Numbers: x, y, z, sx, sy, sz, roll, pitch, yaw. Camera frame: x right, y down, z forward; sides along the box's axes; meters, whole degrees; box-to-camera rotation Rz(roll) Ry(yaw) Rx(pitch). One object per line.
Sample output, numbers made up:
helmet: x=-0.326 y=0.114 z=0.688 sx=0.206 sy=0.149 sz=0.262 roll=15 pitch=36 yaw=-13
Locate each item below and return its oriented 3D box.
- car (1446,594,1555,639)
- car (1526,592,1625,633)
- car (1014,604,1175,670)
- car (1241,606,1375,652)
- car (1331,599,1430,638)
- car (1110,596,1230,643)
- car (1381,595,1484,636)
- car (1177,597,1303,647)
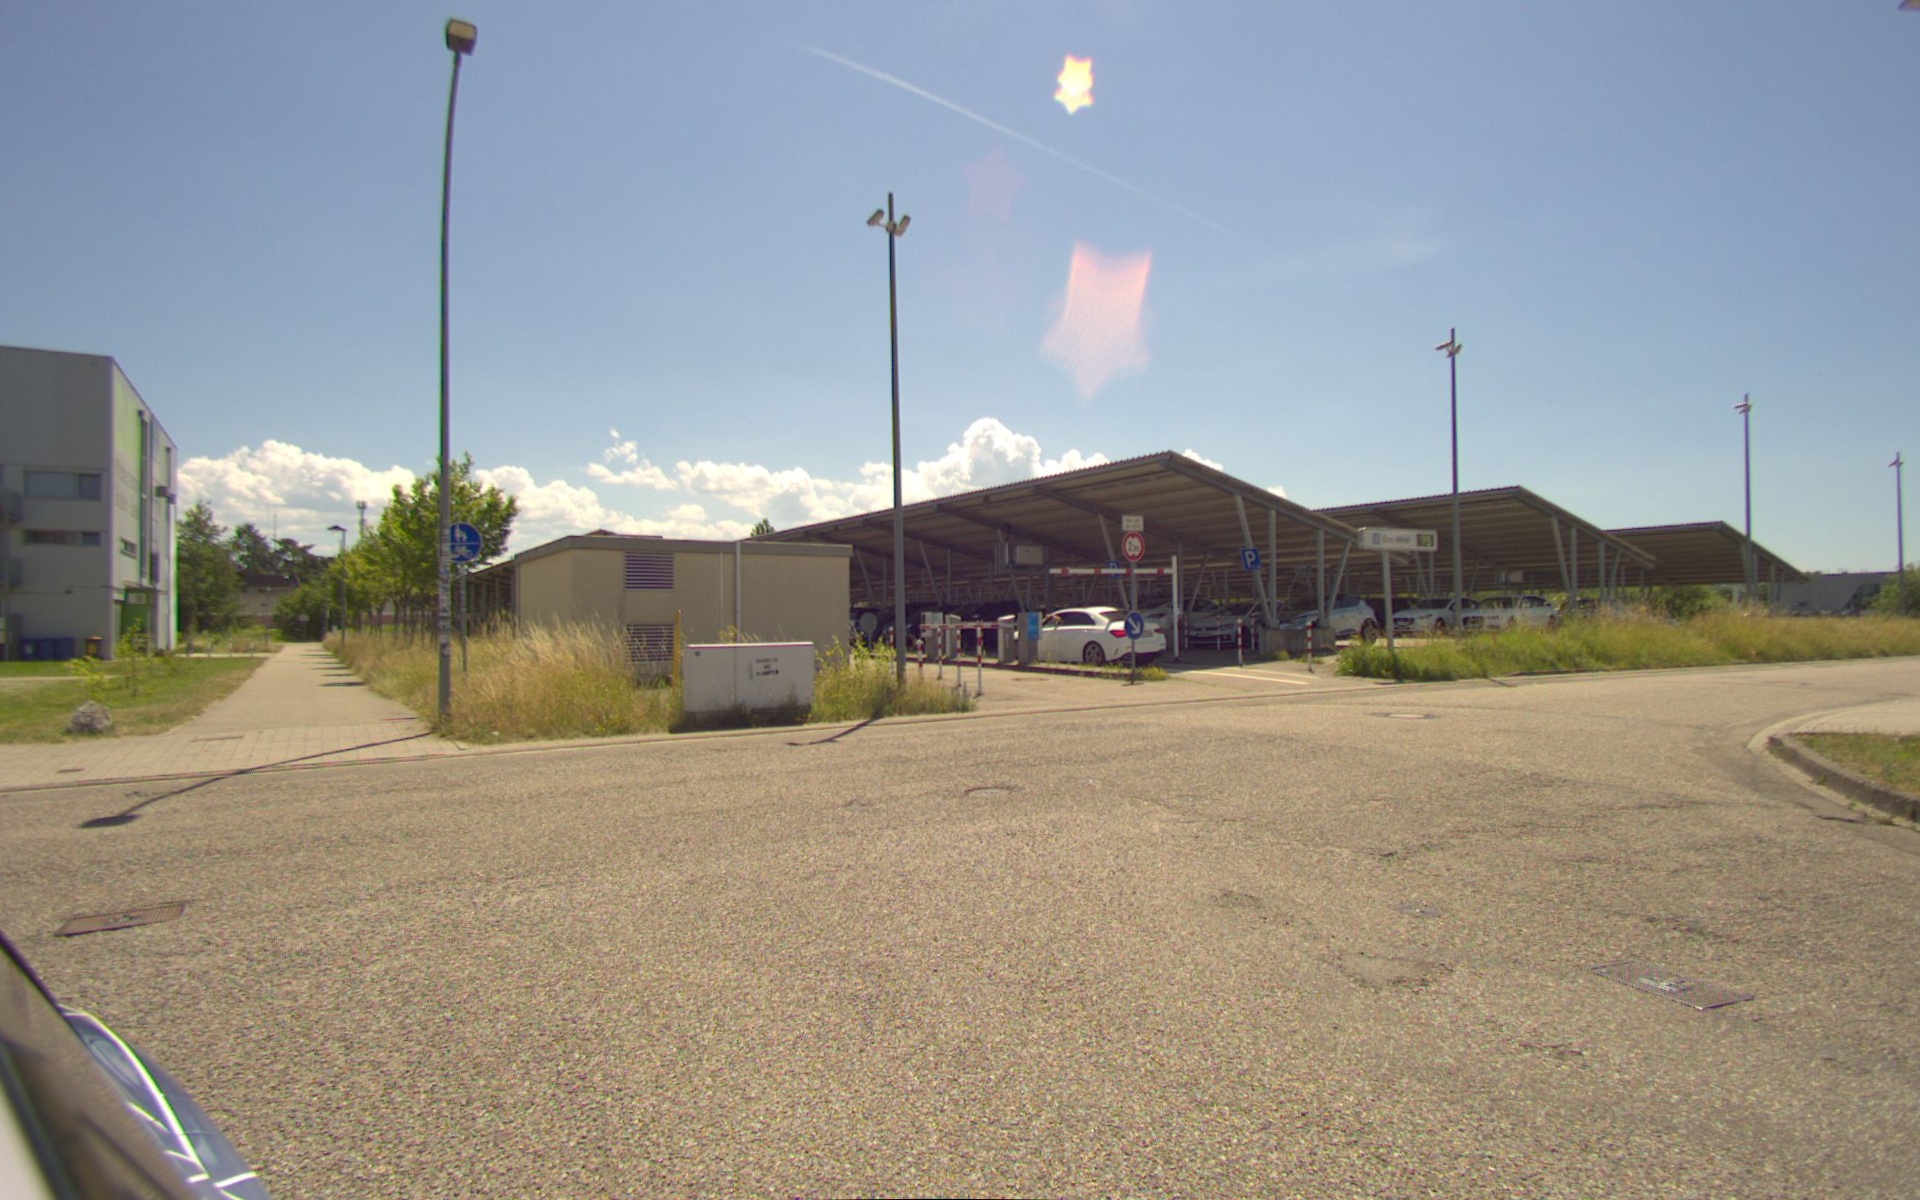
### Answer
car: x=18.497 y=0.562 z=34.592 sx=3.713 sy=1.447 sz=1.728 roll=0 pitch=-2 yaw=-34
car: x=23.005 y=0.472 z=37.793 sx=3.713 sy=1.447 sz=1.728 roll=0 pitch=-2 yaw=-34
car: x=3.126 y=0.875 z=24.219 sx=1.695 sy=1.447 sz=3.785 roll=0 pitch=-2 yaw=-35
car: x=9.988 y=0.808 z=28.967 sx=3.713 sy=1.237 sz=1.728 roll=0 pitch=-2 yaw=-34
car: x=16.067 y=0.714 z=38.659 sx=3.713 sy=1.447 sz=1.728 roll=0 pitch=-2 yaw=-34
car: x=6.908 y=0.653 z=33.202 sx=3.713 sy=1.447 sz=1.728 roll=0 pitch=-2 yaw=-34
car: x=17.343 y=0.573 z=37.107 sx=3.713 sy=1.447 sz=1.728 roll=0 pitch=-2 yaw=-34
car: x=8.630 y=0.689 z=31.146 sx=3.713 sy=1.447 sz=1.728 roll=0 pitch=-2 yaw=-34
